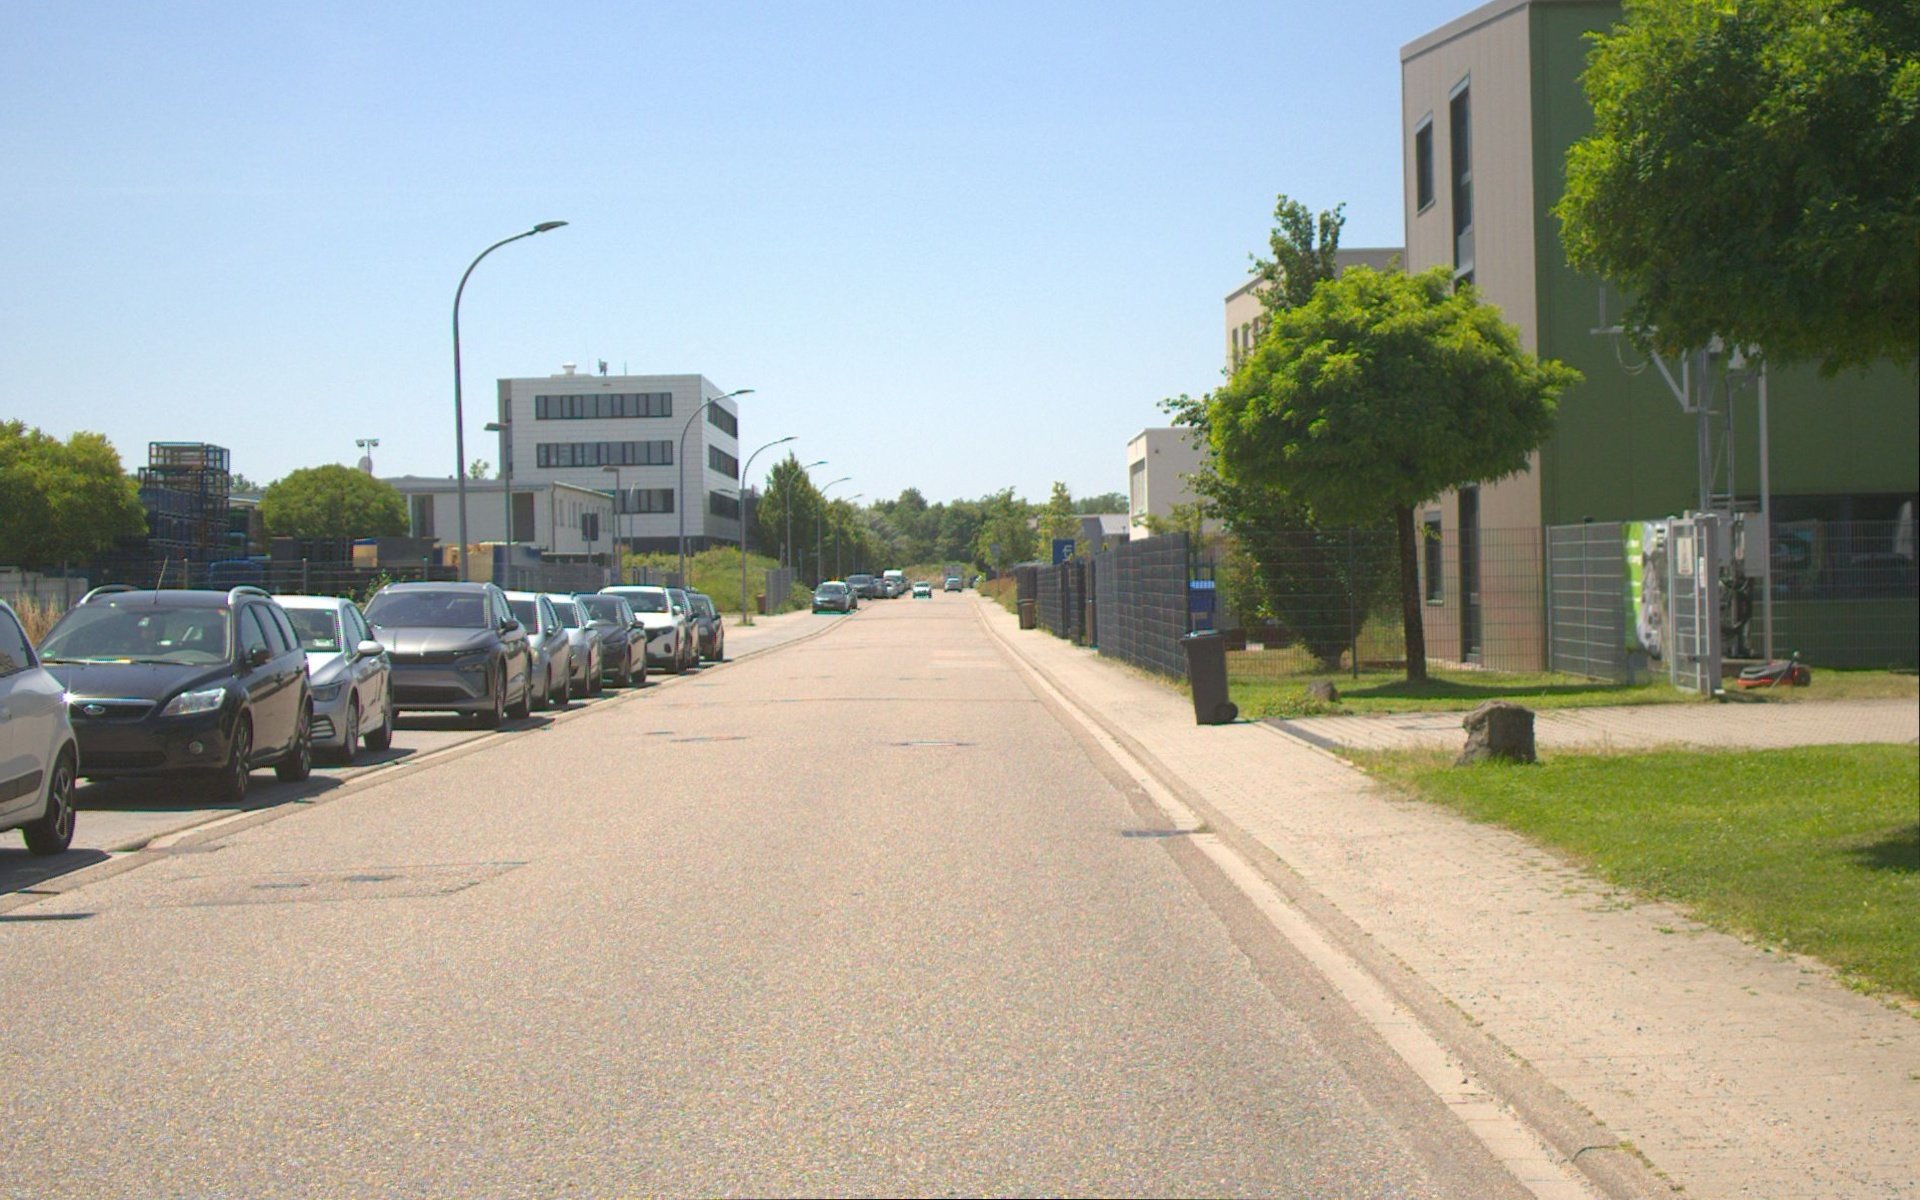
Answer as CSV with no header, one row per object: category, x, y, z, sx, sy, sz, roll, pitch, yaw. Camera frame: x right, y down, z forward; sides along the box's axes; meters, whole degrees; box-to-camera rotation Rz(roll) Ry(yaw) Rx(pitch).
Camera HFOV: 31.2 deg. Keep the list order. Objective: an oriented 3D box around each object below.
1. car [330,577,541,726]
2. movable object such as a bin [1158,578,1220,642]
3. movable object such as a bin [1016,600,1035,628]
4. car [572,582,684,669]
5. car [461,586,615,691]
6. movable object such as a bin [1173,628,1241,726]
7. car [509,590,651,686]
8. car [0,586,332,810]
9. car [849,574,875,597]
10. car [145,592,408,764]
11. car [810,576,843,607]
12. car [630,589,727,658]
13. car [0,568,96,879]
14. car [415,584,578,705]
car,-5.920,0.544,39.259,1.790,1.601,4.463,0,0,-1
movable object such as a bin,5.370,0.224,80.646,1.334,1.454,0.949,-2,0,0
movable object such as a bin,2.343,0.497,122.388,0.552,0.925,0.522,-5,1,4
car,-6.209,0.461,64.653,1.769,1.587,4.360,0,0,-1
car,-6.192,0.536,50.900,1.775,1.476,4.816,0,0,-1
movable object such as a bin,2.456,0.762,34.141,0.552,0.925,0.521,-5,0,10
car,-6.120,0.589,55.763,1.857,1.476,4.229,0,0,0
car,-5.949,0.663,25.672,1.763,1.512,4.380,0,0,-1
car,-6.418,-0.936,225.416,1.644,1.484,3.207,-1,0,0
car,-6.156,0.662,31.382,1.763,1.446,4.201,0,0,-3
car,-6.621,-0.430,170.435,1.467,1.484,3.207,-1,0,0
car,-6.165,0.501,75.637,1.769,1.456,4.333,0,0,0
car,-6.001,0.659,18.541,1.787,1.651,3.769,0,0,-1
car,-6.048,0.558,45.202,1.693,1.520,3.735,0,0,-1
